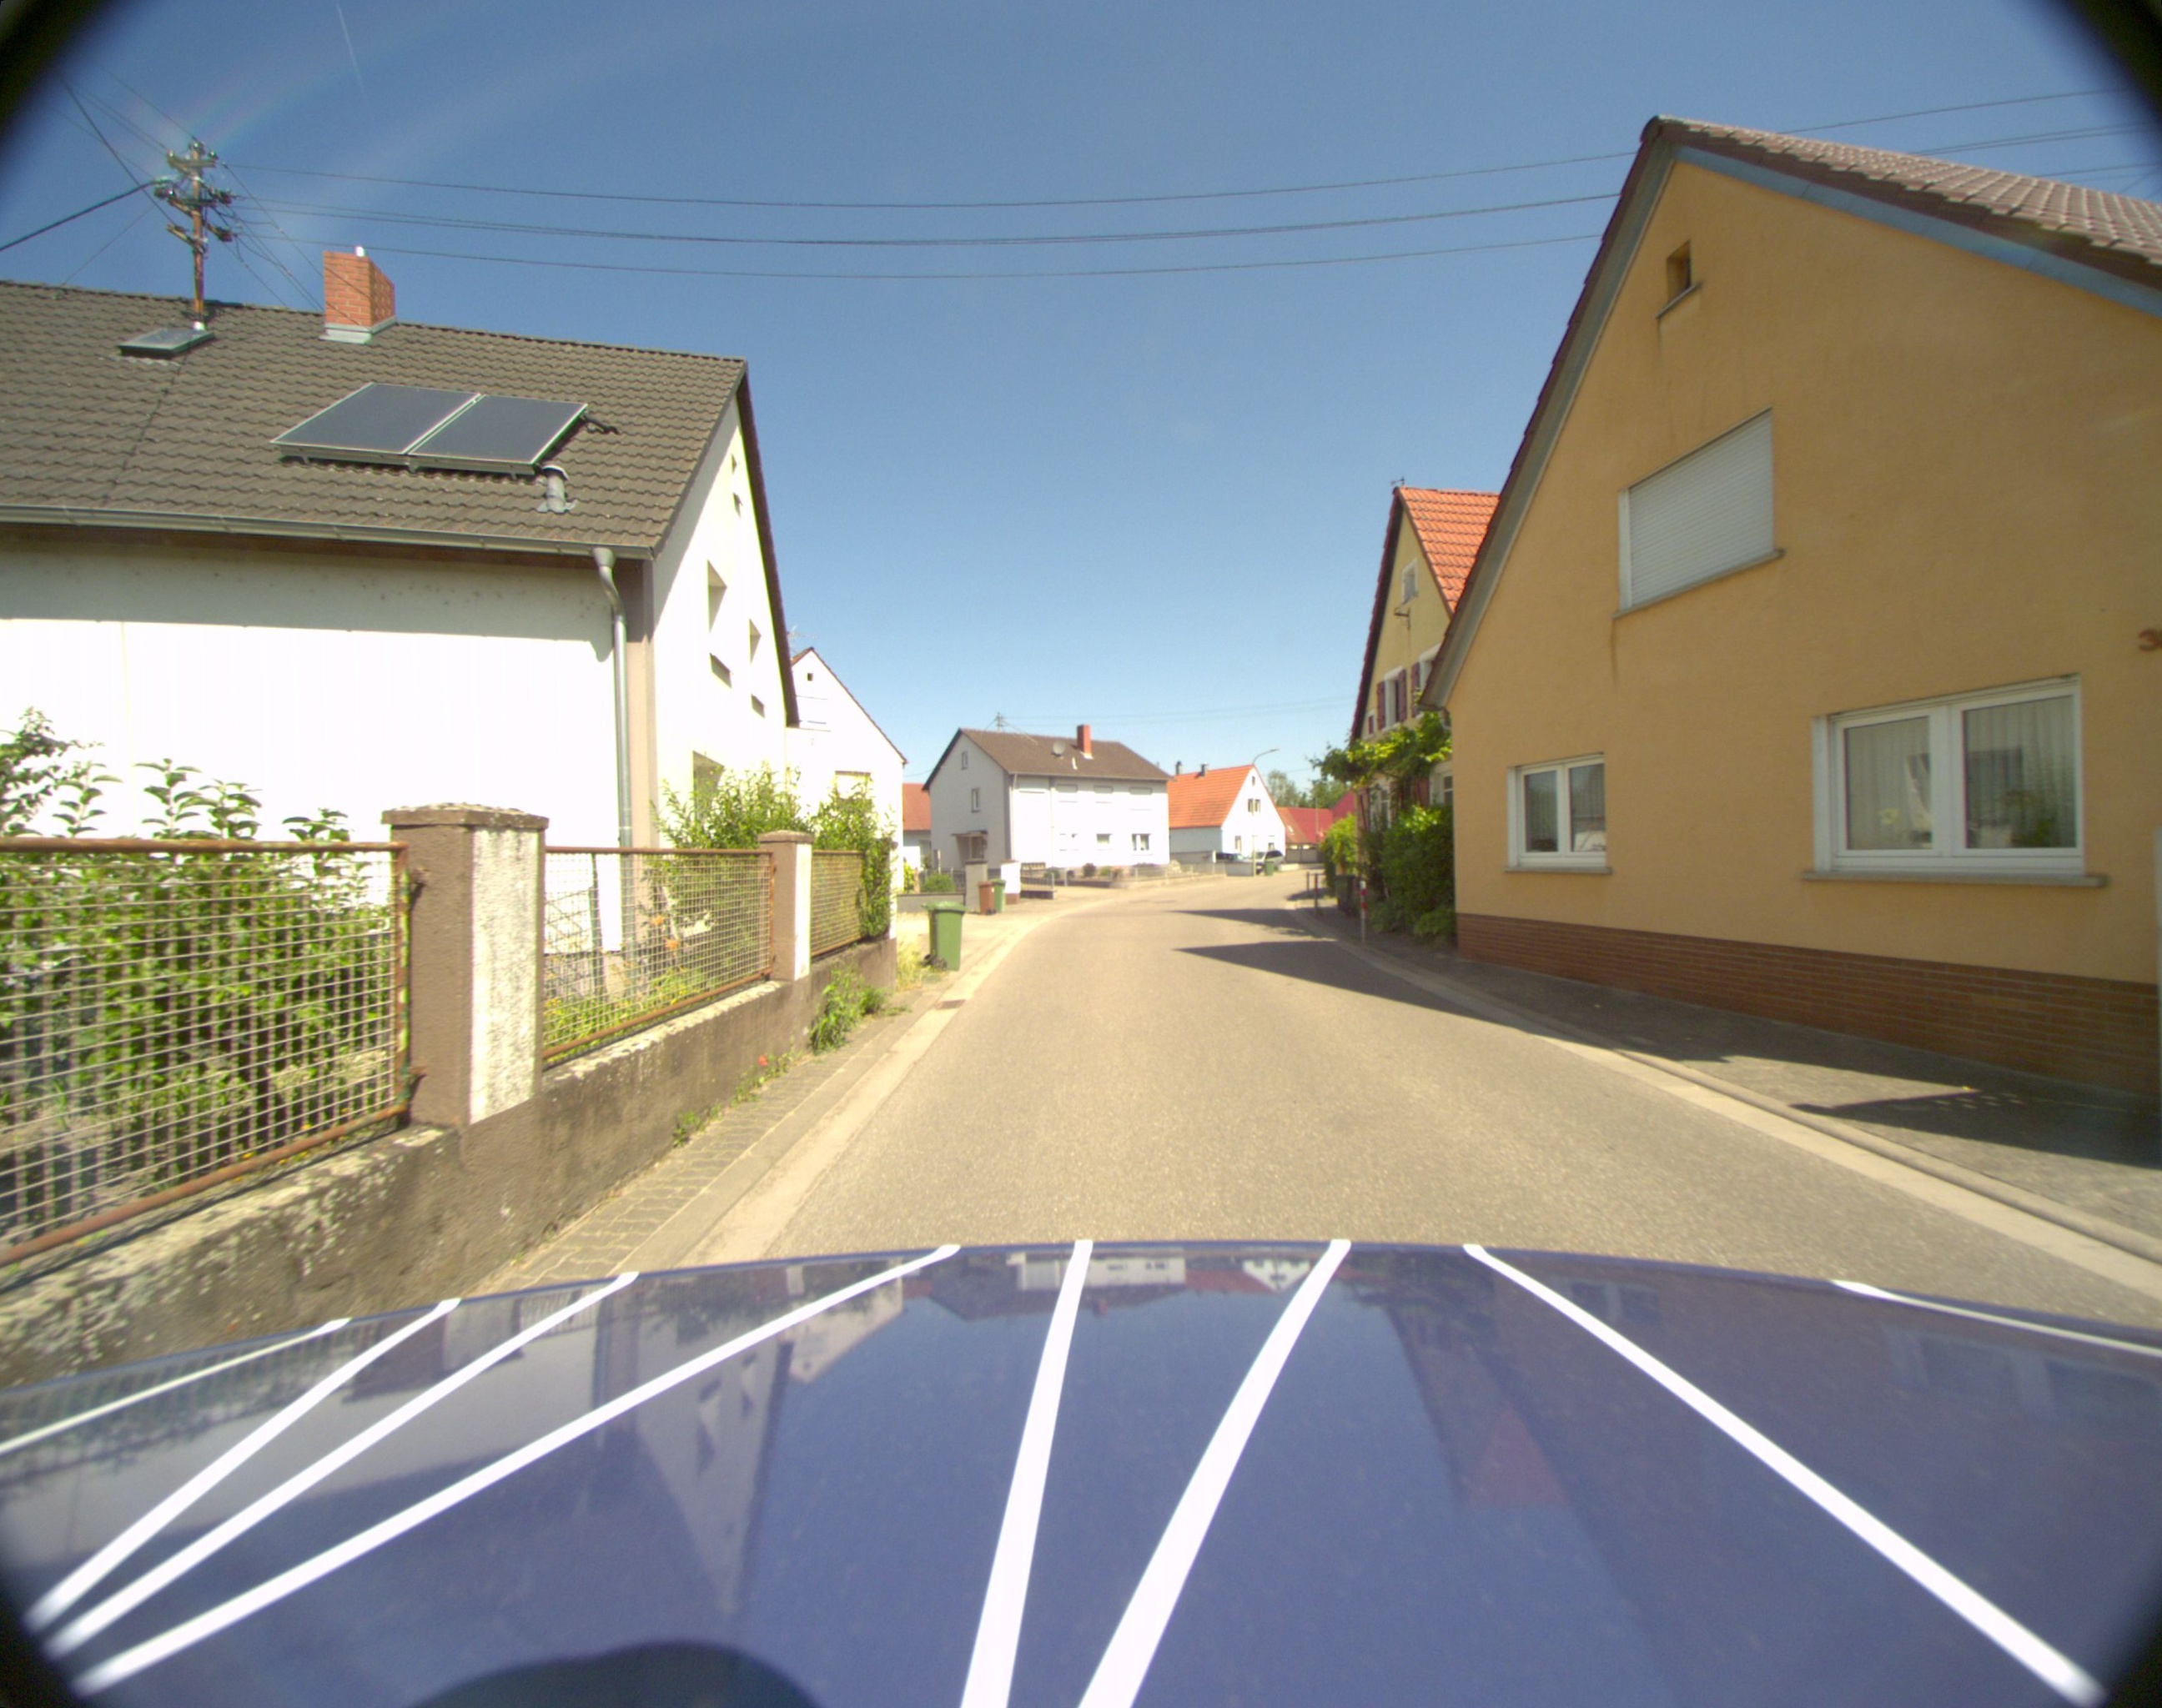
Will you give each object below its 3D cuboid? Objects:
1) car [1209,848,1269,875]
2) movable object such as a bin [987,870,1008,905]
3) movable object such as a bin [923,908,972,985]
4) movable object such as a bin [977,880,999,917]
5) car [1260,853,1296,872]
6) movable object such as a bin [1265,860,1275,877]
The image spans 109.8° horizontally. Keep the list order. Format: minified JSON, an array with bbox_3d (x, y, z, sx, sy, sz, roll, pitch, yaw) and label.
[{"bbox_3d":[11.140,0.543,53.800,1.705,1.834,3.989,-2,0,-39],"label":"car"},{"bbox_3d":[-2.419,0.963,22.008,0.505,0.971,0.494,-2,1,1],"label":"movable object such as a bin"},{"bbox_3d":[-1.838,1.255,10.435,0.552,0.971,0.432,-2,1,-24],"label":"movable object such as a bin"},{"bbox_3d":[-2.553,1.235,20.966,0.505,0.971,0.433,-2,1,1],"label":"movable object such as a bin"},{"bbox_3d":[15.025,0.623,57.774,1.521,1.366,3.605,-1,0,34],"label":"car"},{"bbox_3d":[12.461,0.950,50.091,0.570,1.136,0.433,-1,1,1],"label":"movable object such as a bin"}]
